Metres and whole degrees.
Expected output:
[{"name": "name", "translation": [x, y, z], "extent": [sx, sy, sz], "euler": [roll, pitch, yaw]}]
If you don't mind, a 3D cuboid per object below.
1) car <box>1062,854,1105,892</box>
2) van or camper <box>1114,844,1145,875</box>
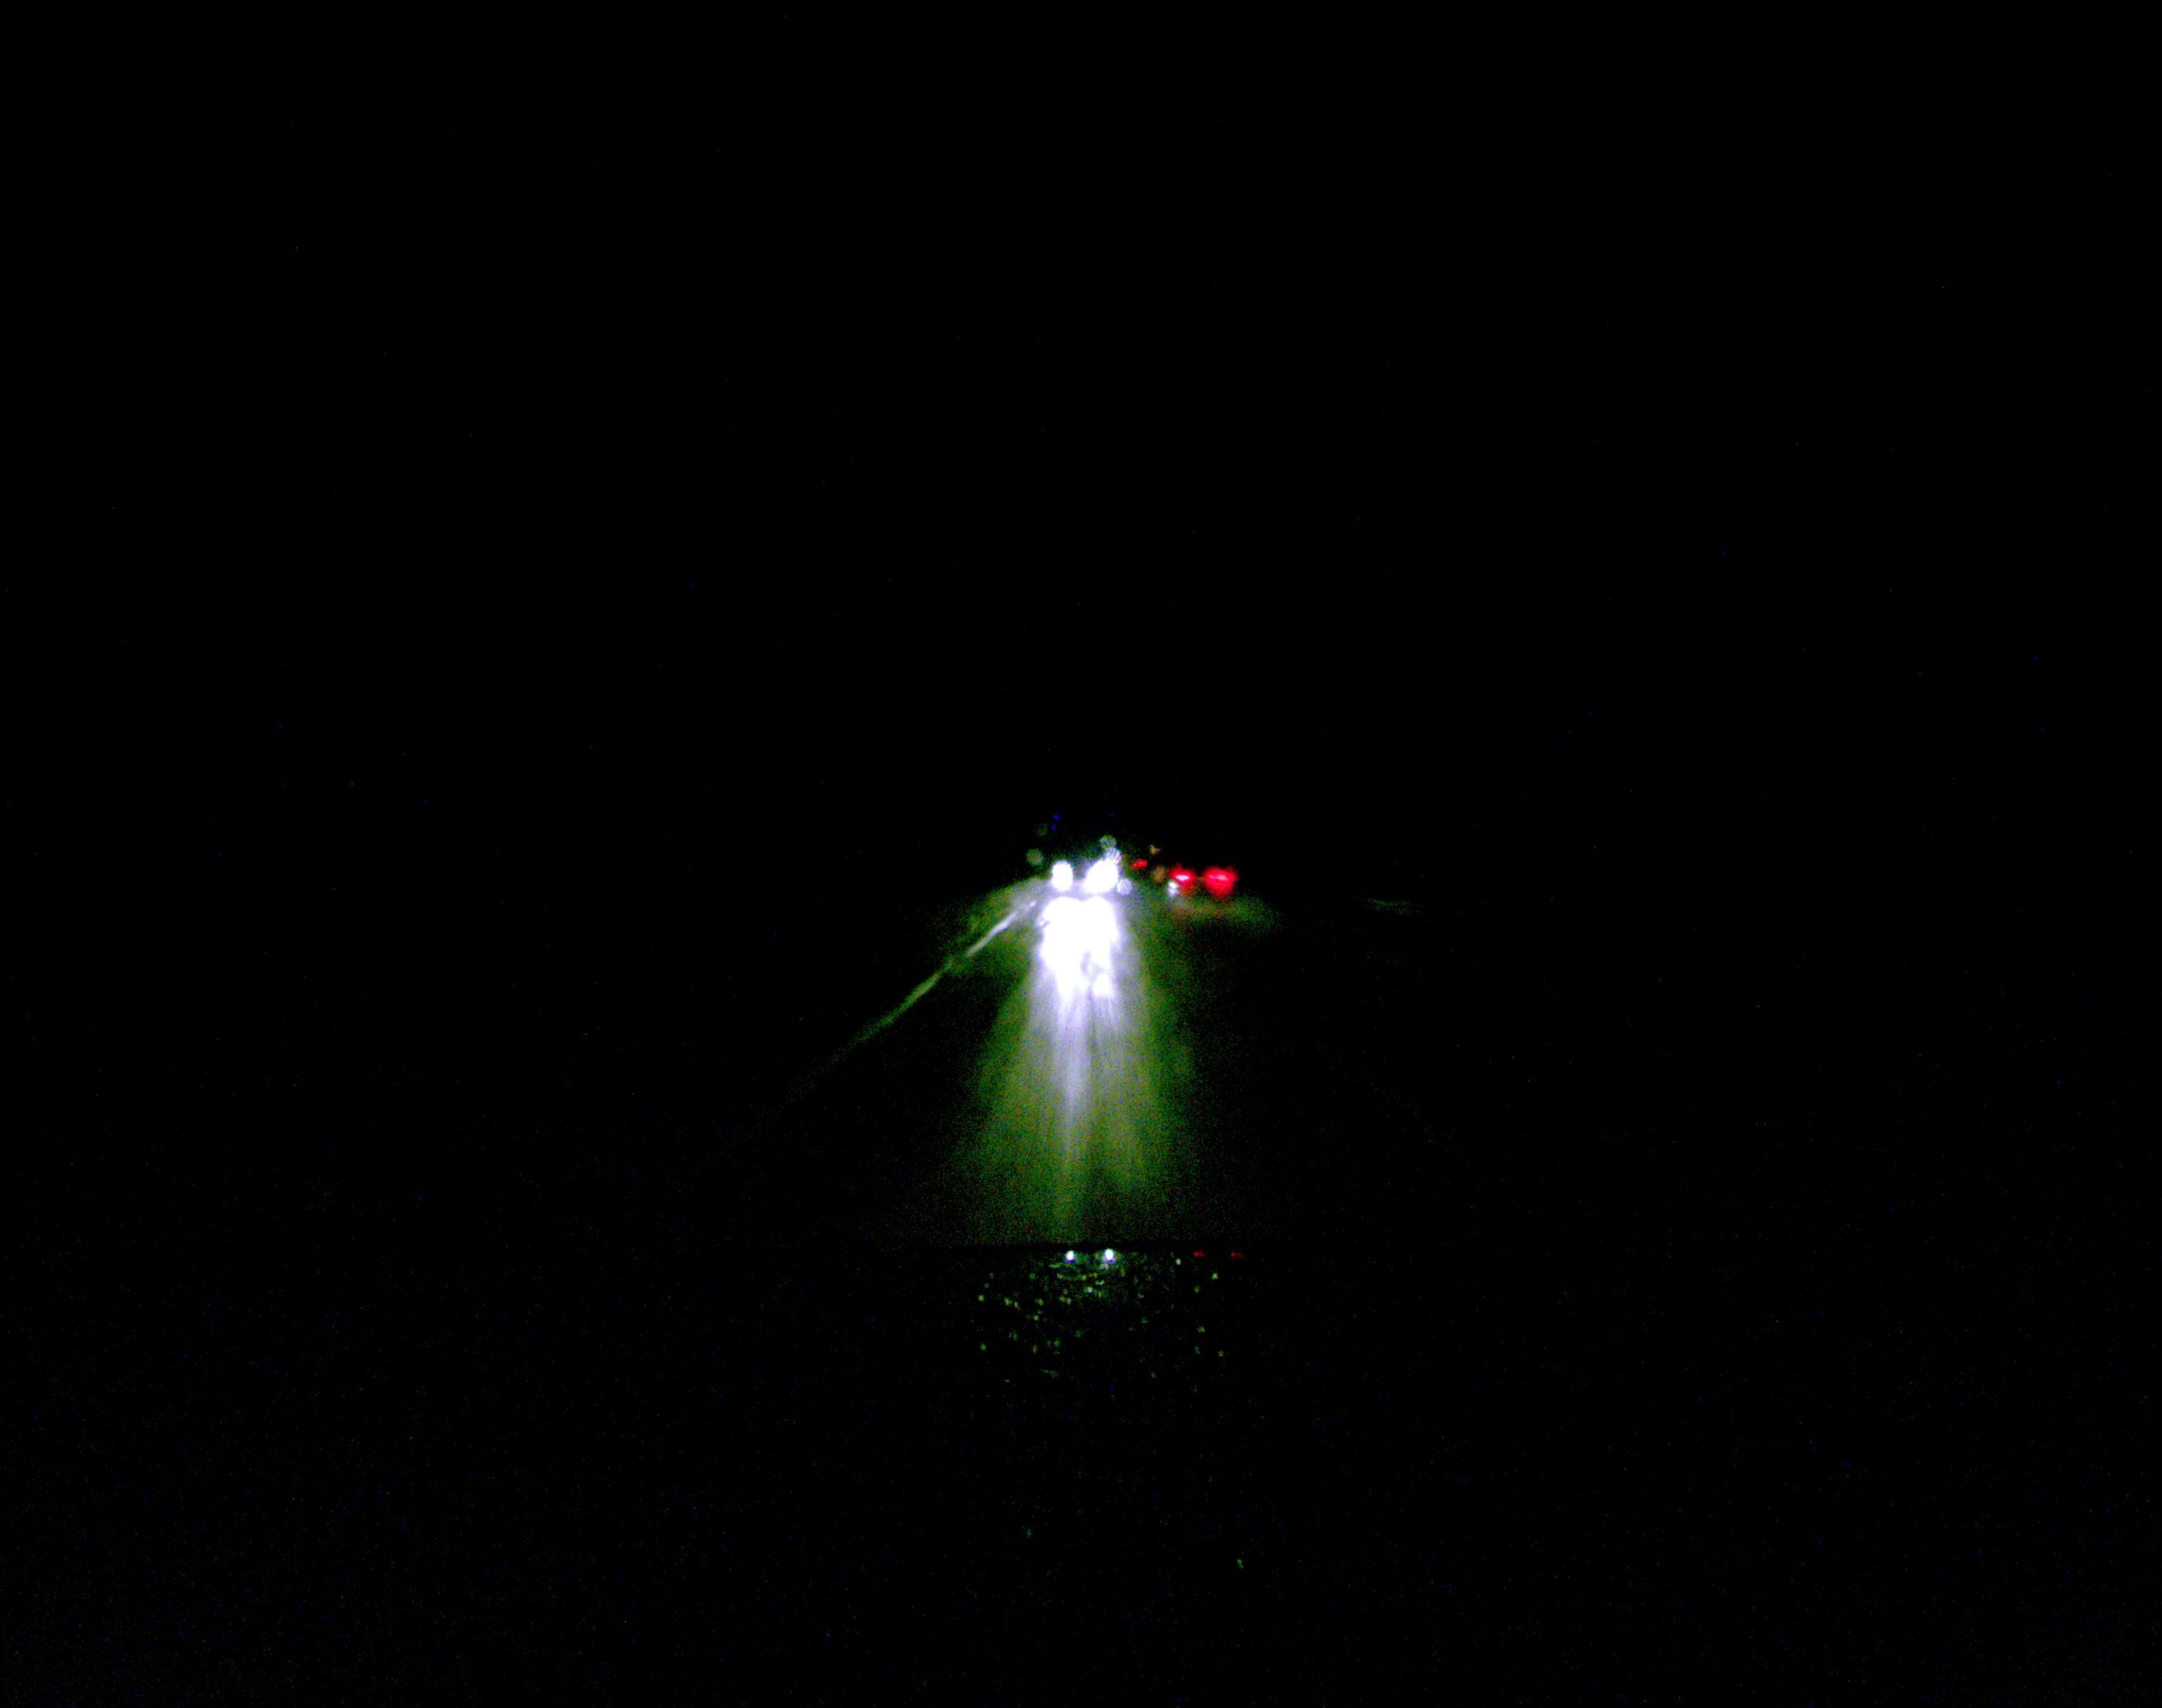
[{"name": "car", "translation": [0.119, 0.834, 33.952], "extent": [1.793, 1.593, 4.001], "euler": [1, -1, 0]}, {"name": "van or camper", "translation": [4.220, 0.496, 67.287], "extent": [2.129, 2.550, 5.783], "euler": [2, 0, -1]}]
